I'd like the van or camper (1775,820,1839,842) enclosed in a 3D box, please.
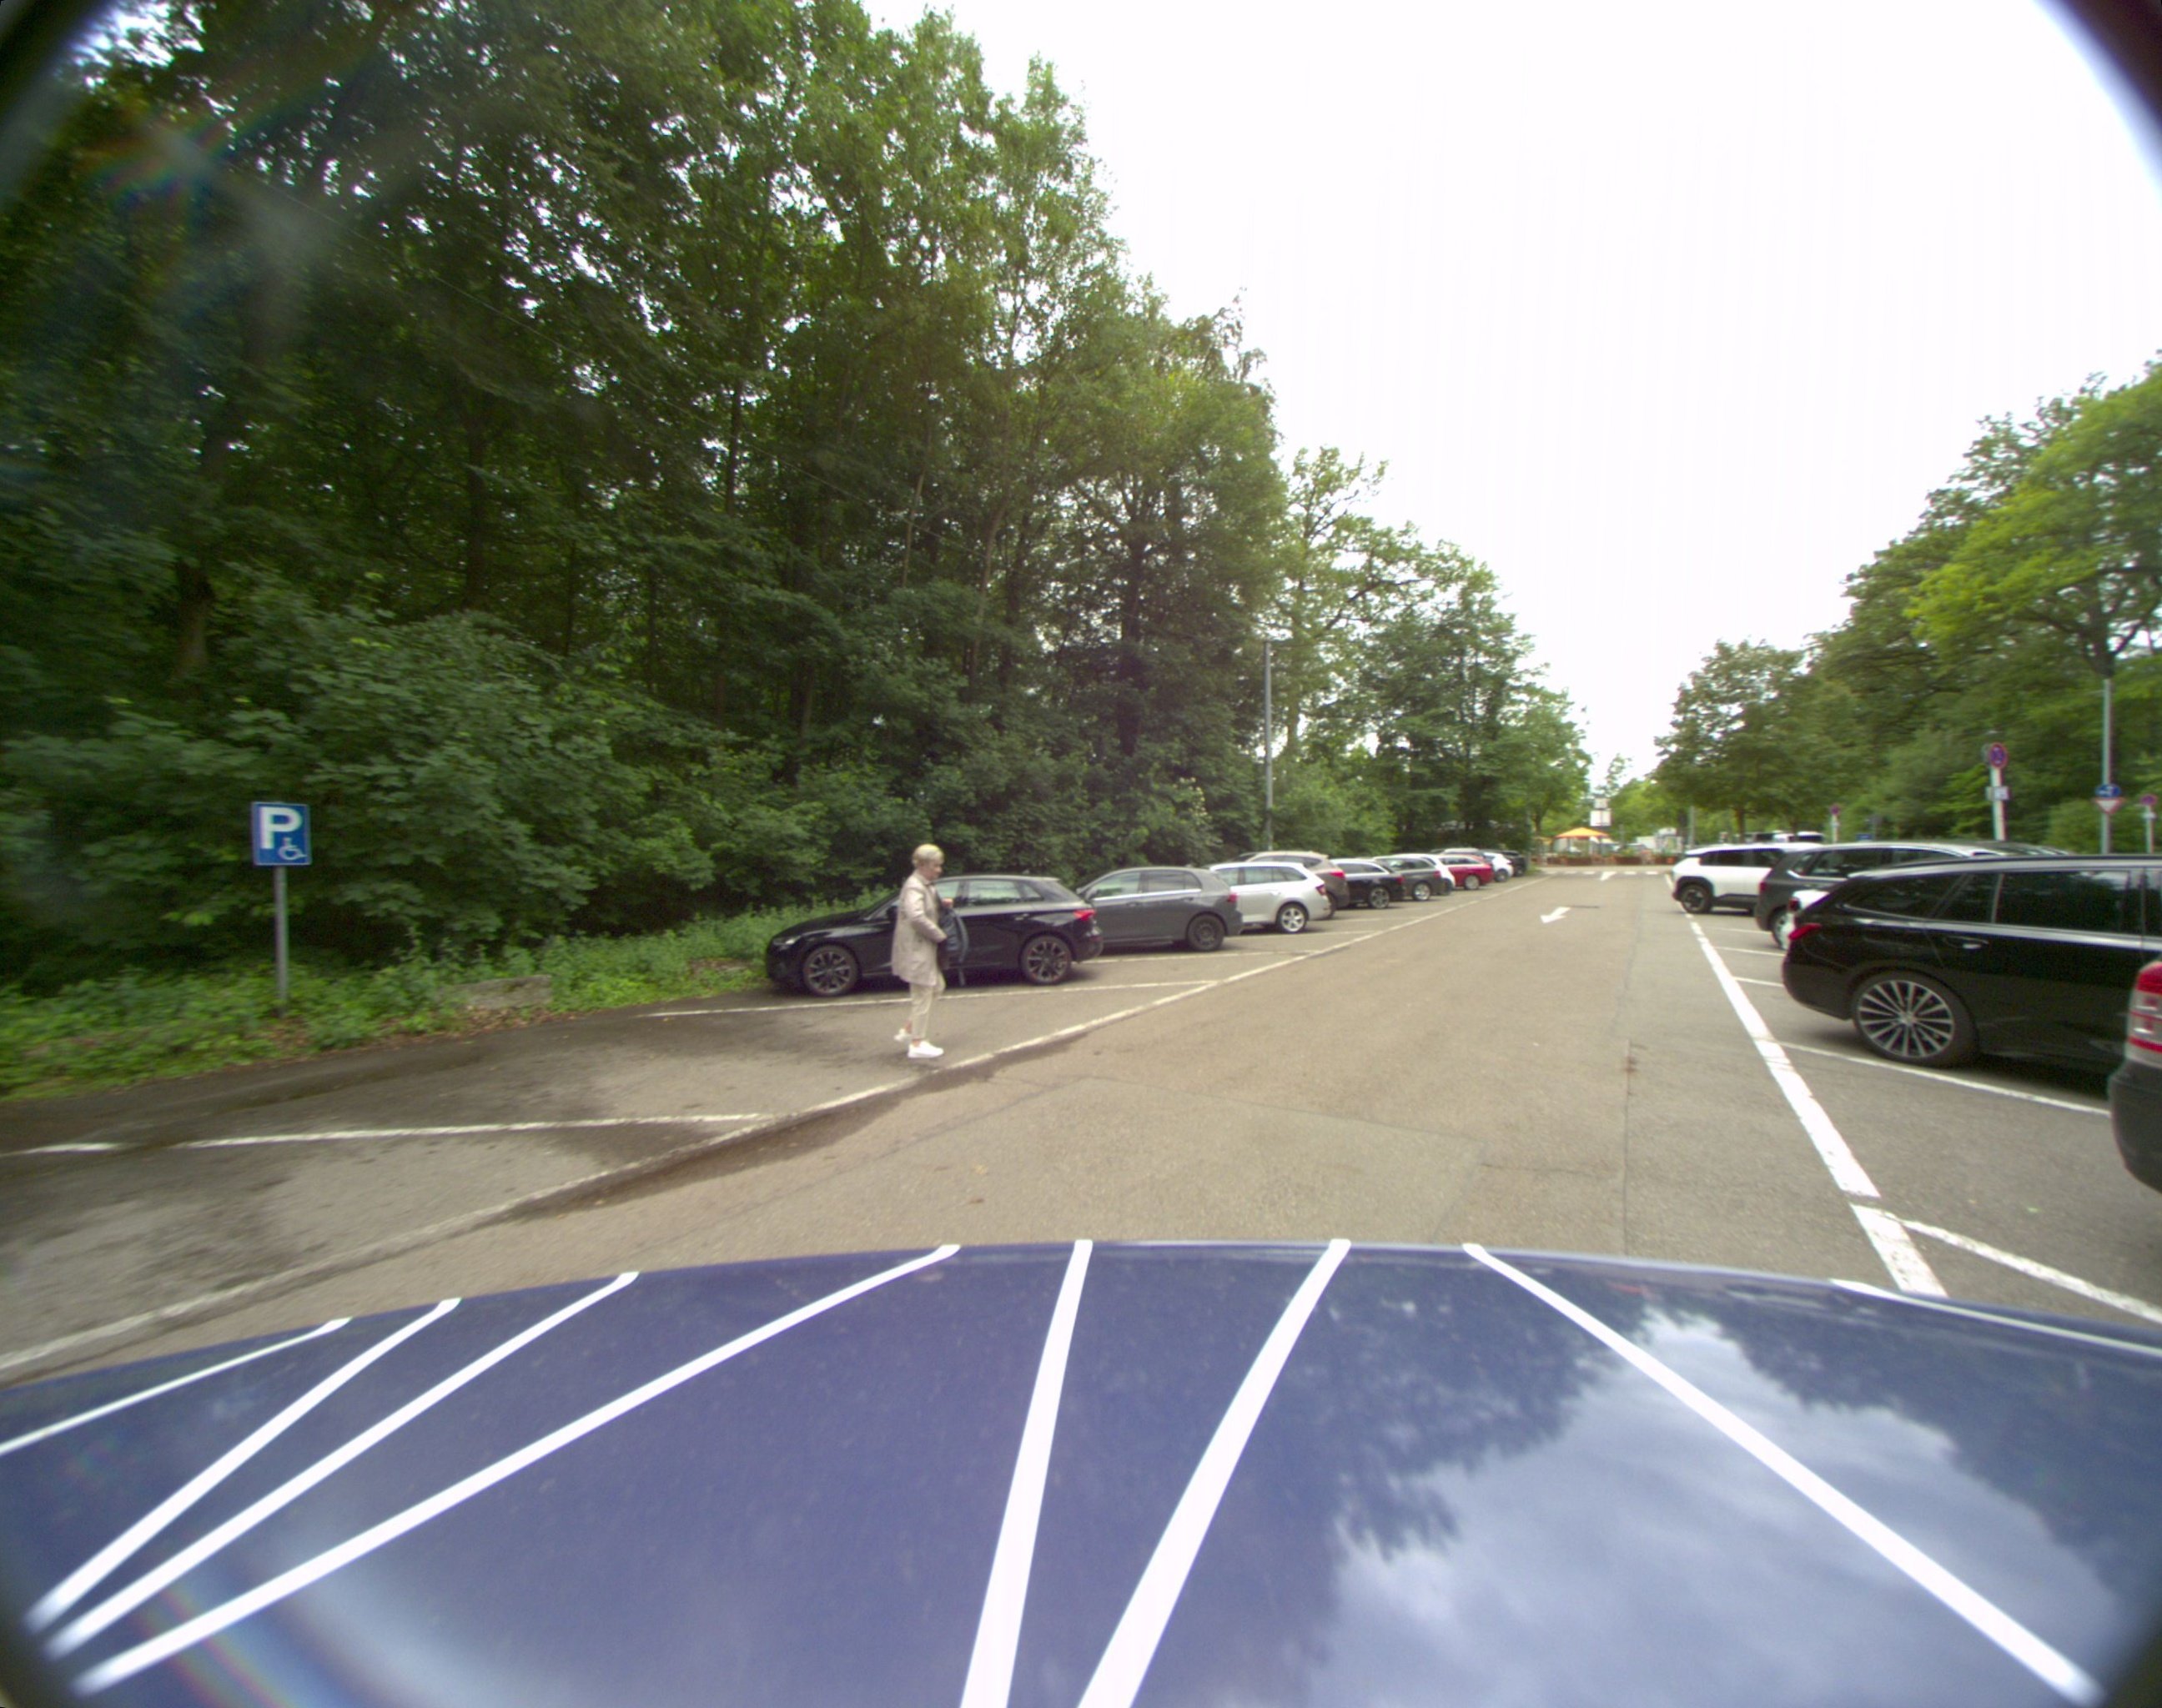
[{"bbox_3d":[101.616,-3.232,106.369,7.337,2.833,2.068,-2,1,-3],"label":"van or camper"}]

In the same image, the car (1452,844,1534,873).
[{"bbox_3d":[22.961,0.223,42.385,3.792,1.483,1.698,-2,0,-9],"label":"car"}]

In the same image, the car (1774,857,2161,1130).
[{"bbox_3d":[6.743,0.760,4.077,1.760,1.435,4.275,-1,0,-10],"label":"car"}]

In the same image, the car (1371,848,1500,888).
[{"bbox_3d":[14.134,0.543,30.430,4.294,1.405,1.927,-2,0,-4],"label":"car"}]

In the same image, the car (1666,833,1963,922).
[{"bbox_3d":[15.030,0.432,15.941,1.847,1.587,4.186,-1,0,-11],"label":"car"}]

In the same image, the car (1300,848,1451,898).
[{"bbox_3d":[9.429,0.588,24.508,4.186,1.449,1.803,-1,0,-8],"label":"car"}]

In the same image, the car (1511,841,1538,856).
[{"bbox_3d":[47.160,-0.593,80.820,1.995,1.543,4.006,-1,0,23],"label":"car"}]

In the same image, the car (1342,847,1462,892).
[{"bbox_3d":[11.555,0.549,27.470,3.582,1.496,1.734,-1,0,-6],"label":"car"}]

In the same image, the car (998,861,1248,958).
[{"bbox_3d":[0.618,0.875,13.162,4.000,1.414,1.909,-1,0,-9],"label":"car"}]

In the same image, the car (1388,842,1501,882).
[{"bbox_3d":[15.974,0.339,33.514,4.118,1.608,1.841,-2,0,-5],"label":"car"}]

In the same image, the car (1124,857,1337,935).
[{"bbox_3d":[3.001,0.817,15.815,3.998,1.458,1.834,-1,0,-4],"label":"car"}]

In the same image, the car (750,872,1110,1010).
[{"bbox_3d":[-1.870,1.041,10.071,4.204,1.454,1.898,-2,0,-8],"label":"car"}]

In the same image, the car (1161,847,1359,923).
[{"bbox_3d":[4.278,0.706,18.556,4.262,1.627,1.964,-1,0,-8],"label":"car"}]

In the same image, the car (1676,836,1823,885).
[{"bbox_3d":[23.641,0.218,27.032,1.687,1.576,3.651,-1,0,-11],"label":"car"}]

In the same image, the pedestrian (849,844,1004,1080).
[{"bbox_3d":[-1.234,0.793,6.117,0.762,1.715,0.899,-1,1,38],"label":"pedestrian"}]

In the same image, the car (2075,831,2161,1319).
[{"bbox_3d":[4.755,0.699,0.659,1.829,1.599,4.384,-1,0,-9],"label":"car"}]

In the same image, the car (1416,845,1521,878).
[{"bbox_3d":[18.500,0.351,36.383,4.118,1.430,1.869,-2,0,-5],"label":"car"}]

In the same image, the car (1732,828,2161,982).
[{"bbox_3d":[11.310,0.526,9.950,1.847,1.577,3.974,-1,0,-9],"label":"car"}]

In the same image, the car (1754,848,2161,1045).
[{"bbox_3d":[8.752,0.684,6.808,1.772,1.435,3.843,-1,0,-8],"label":"car"}]

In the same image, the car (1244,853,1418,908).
[{"bbox_3d":[7.033,0.718,21.600,4.263,1.369,1.963,-1,0,-10],"label":"car"}]
